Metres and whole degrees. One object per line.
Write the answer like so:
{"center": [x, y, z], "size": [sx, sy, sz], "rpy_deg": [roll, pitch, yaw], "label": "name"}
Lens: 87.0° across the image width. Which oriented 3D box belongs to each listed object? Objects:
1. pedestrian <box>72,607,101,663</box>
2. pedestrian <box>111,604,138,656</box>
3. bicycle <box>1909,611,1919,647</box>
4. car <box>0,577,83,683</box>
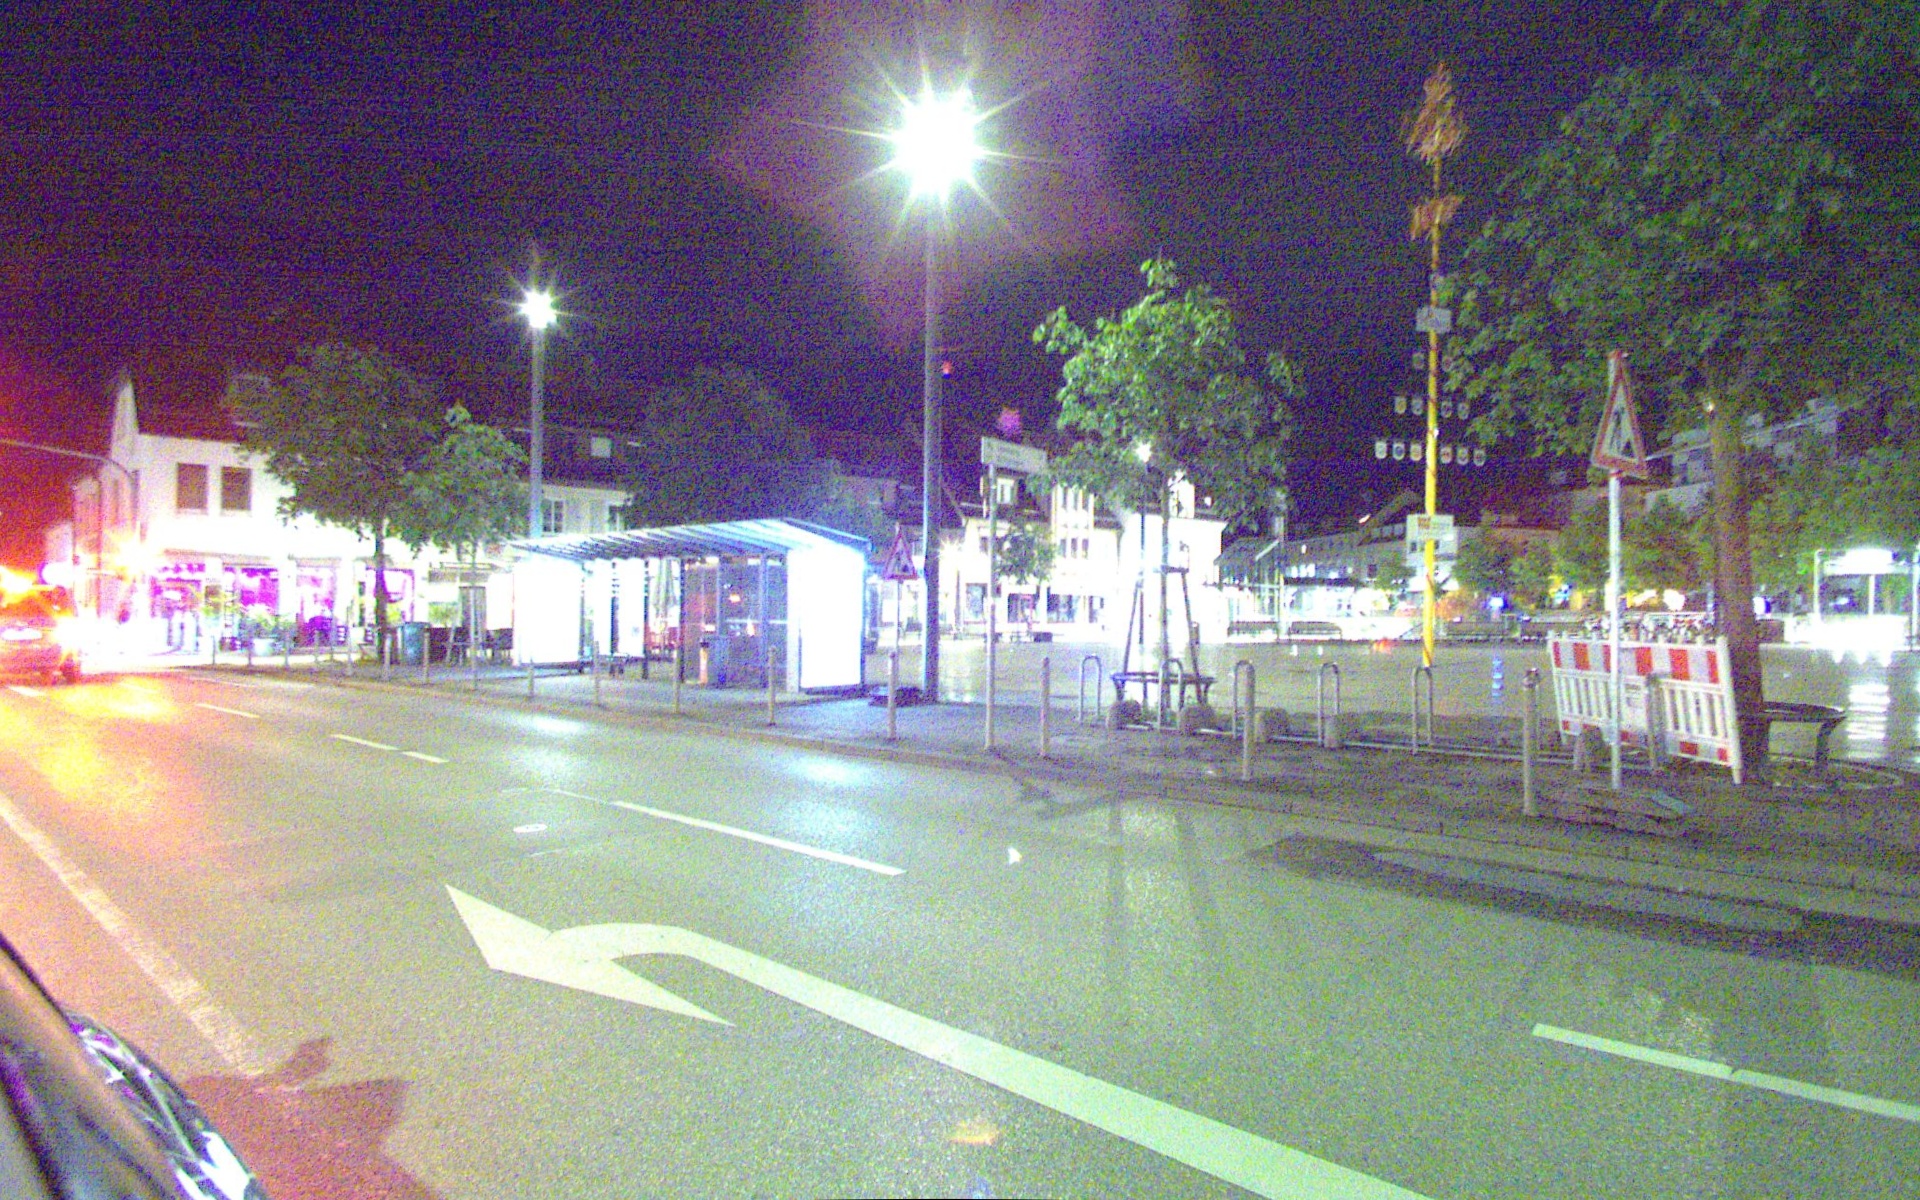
{"center": [-26.318, 1.037, 30.498], "size": [0.637, 1.640, 0.584], "rpy_deg": [-1, 0, -39], "label": "pedestrian"}
{"center": [-26.985, 0.967, 32.691], "size": [0.637, 1.640, 0.584], "rpy_deg": [-1, 0, -39], "label": "pedestrian"}
{"center": [26.408, 0.769, 26.975], "size": [1.525, 0.965, 0.476], "rpy_deg": [-1, 0, 25], "label": "bicycle"}
{"center": [-18.884, 0.562, 19.833], "size": [4.910, 1.886, 1.946], "rpy_deg": [-1, -1, 42], "label": "car"}
